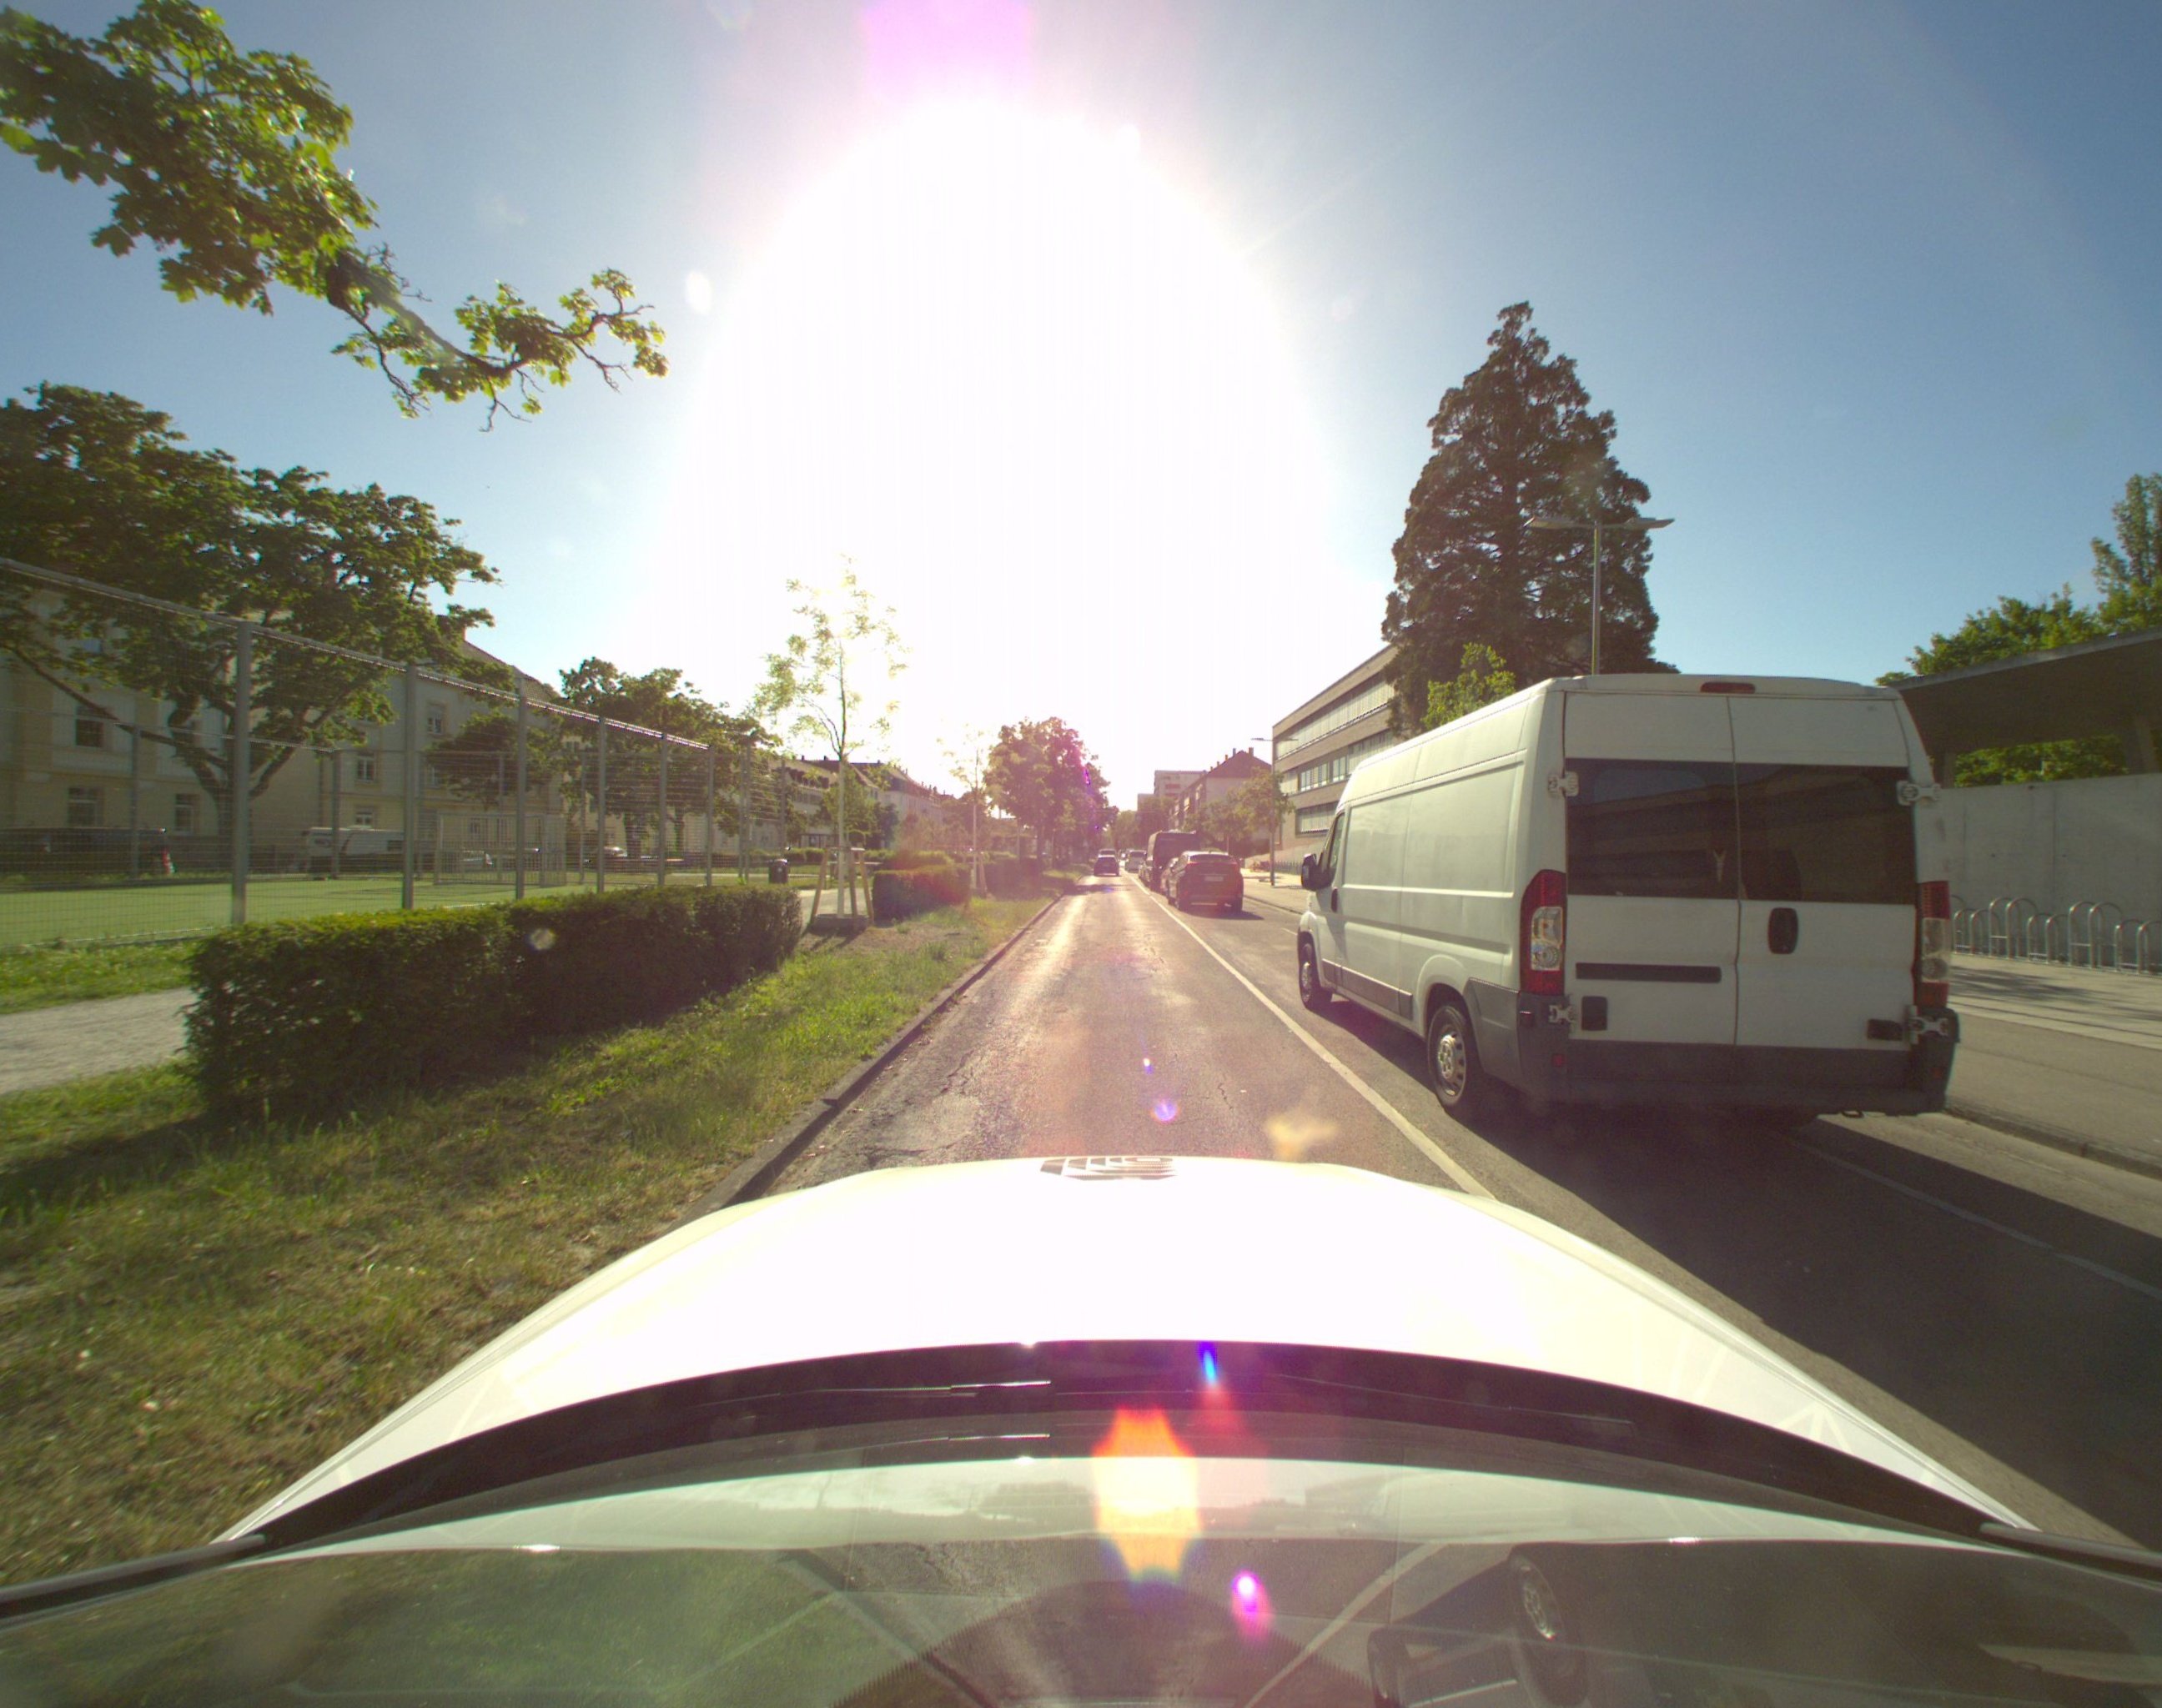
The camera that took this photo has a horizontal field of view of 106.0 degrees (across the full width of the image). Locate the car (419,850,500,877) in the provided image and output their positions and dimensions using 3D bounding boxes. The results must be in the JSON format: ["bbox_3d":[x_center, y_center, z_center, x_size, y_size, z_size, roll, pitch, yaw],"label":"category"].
[{"bbox_3d":[-38.322,0.559,50.363,1.787,1.510,4.002,1,0,2],"label":"car"}]

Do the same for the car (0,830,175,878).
[{"bbox_3d":[-34.335,-0.010,27.999,1.787,1.510,4.002,1,0,2],"label":"car"}]

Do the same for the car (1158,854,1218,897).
[{"bbox_3d":[3.926,0.745,30.420,1.788,1.455,3.950,1,0,1],"label":"car"}]

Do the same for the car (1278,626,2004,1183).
[{"bbox_3d":[3.301,0.227,6.571,2.232,2.574,5.435,1,0,2],"label":"car"}]

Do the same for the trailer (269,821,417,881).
[{"bbox_3d":[-38.409,-0.152,42.698,2.335,2.870,5.803,1,0,1],"label":"trailer"}]

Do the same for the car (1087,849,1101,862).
[{"bbox_3d":[1.709,0.173,107.844,1.787,1.624,4.002,1,0,2],"label":"car"}]

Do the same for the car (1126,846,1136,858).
[{"bbox_3d":[10.286,-0.389,168.162,1.986,2.430,4.502,3,0,2],"label":"car"}]

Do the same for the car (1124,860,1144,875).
[{"bbox_3d":[4.922,1.252,76.236,1.758,1.319,4.170,2,0,2],"label":"car"}]

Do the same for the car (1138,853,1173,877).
[{"bbox_3d":[4.517,0.635,49.823,1.788,1.420,4.659,1,0,1],"label":"car"}]

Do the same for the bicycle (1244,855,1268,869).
[{"bbox_3d":[14.228,0.623,66.164,1.789,1.107,0.500,-1,0,-1],"label":"bicycle"}]

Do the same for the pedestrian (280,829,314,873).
[{"bbox_3d":[-29.888,-0.106,31.054,0.645,1.661,0.650,0,0,1],"label":"pedestrian"}]

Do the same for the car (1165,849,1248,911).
[{"bbox_3d":[3.618,0.694,24.206,1.839,1.640,4.504,1,0,1],"label":"car"}]

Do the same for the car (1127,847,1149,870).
[{"bbox_3d":[4.866,0.342,69.819,1.786,1.855,4.418,1,0,4],"label":"car"}]

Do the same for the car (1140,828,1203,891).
[{"bbox_3d":[3.922,0.218,36.513,2.108,2.515,6.531,1,0,0],"label":"car"}]

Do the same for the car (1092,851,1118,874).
[{"bbox_3d":[1.714,0.587,57.693,1.787,1.510,4.002,1,0,2],"label":"car"}]

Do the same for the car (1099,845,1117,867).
[{"bbox_3d":[2.690,0.178,81.165,1.787,2.122,4.002,1,0,2],"label":"car"}]

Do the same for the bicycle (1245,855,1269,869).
[{"bbox_3d":[14.208,0.625,65.606,1.789,1.107,0.500,-1,0,-1],"label":"bicycle"}]

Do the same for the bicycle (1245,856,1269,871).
[{"bbox_3d":[13.919,0.758,64.465,1.789,1.107,0.500,-1,0,-1],"label":"bicycle"}]
